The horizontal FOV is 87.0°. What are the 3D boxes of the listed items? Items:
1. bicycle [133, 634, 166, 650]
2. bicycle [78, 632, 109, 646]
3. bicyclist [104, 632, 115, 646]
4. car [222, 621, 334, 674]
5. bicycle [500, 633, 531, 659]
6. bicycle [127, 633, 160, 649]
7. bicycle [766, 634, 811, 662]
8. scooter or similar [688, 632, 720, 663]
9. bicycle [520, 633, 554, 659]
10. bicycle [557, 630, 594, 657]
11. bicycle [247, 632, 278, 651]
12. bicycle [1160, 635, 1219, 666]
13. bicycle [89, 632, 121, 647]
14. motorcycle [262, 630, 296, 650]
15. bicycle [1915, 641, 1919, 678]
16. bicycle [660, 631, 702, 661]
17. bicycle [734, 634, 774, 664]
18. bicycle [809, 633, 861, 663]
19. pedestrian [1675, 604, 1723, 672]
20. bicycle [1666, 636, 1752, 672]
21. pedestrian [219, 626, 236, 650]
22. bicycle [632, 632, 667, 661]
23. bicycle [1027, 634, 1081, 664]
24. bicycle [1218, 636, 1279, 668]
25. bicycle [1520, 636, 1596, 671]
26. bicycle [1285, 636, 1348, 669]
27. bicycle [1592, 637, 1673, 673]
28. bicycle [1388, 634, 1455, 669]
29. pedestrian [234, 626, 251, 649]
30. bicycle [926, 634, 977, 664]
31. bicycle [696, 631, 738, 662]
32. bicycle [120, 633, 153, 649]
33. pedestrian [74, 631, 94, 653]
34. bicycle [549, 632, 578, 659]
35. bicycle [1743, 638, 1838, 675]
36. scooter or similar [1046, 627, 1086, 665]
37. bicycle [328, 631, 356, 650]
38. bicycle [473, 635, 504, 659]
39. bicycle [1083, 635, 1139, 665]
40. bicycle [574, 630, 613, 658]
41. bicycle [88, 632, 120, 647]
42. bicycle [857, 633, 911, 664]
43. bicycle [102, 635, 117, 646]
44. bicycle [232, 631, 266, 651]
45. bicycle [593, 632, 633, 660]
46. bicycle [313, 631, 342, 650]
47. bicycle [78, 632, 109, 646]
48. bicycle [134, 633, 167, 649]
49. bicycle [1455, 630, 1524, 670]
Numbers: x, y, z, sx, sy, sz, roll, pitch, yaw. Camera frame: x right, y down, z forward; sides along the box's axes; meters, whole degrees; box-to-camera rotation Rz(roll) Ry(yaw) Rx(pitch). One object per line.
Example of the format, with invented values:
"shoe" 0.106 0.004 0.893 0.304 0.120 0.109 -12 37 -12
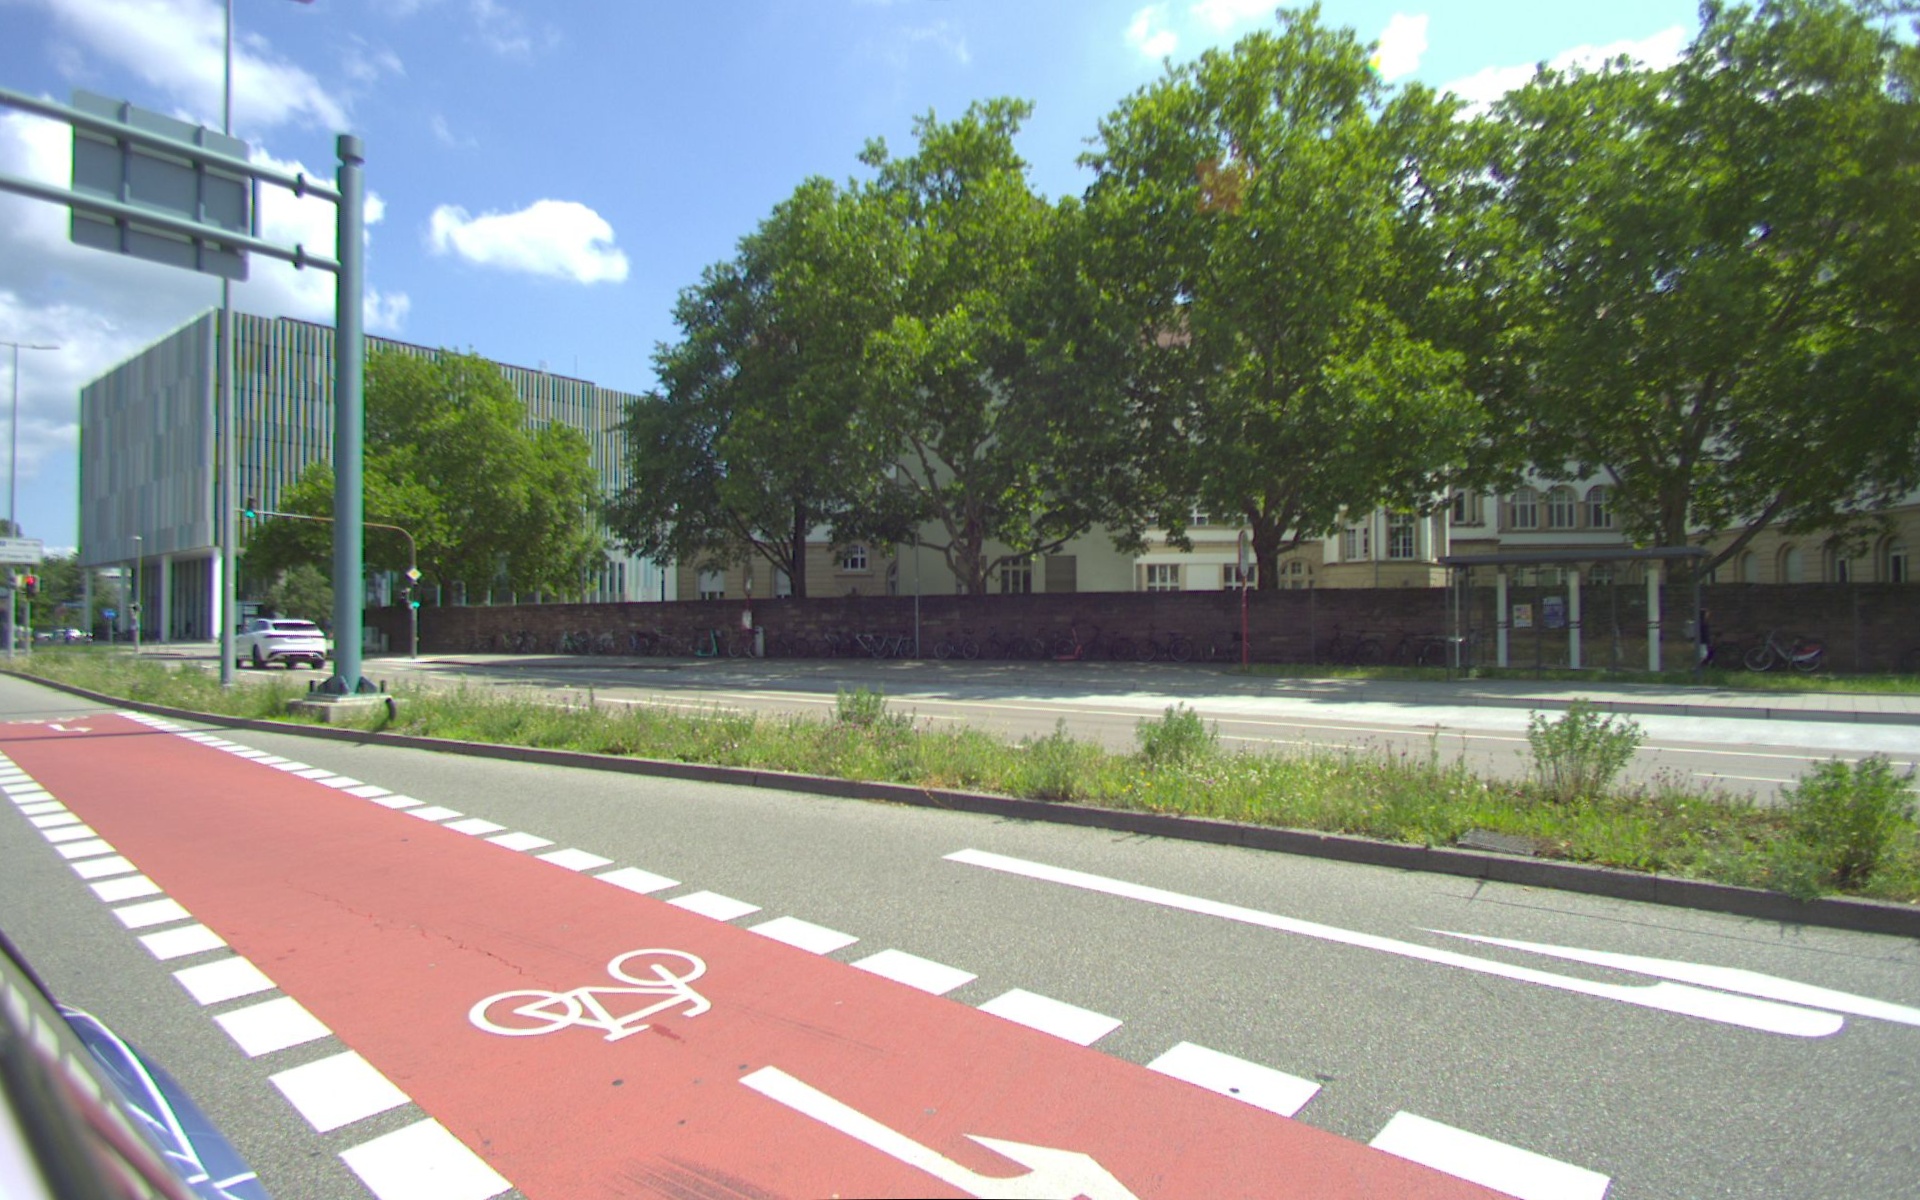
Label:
"bicycle" -77.790 3.985 97.123 0.621 1.506 2.420 -2 -2 41
"bicycle" -94.428 4.210 110.243 0.621 1.506 2.479 -2 -2 41
"bicyclist" -75.549 3.480 89.937 0.833 1.235 0.610 -2 -2 41
"car" -22.982 1.566 34.048 4.774 1.680 2.049 -2 -2 42
"bicycle" -20.406 2.102 46.454 1.589 1.161 0.495 -2 -2 33
"bicycle" -80.985 4.043 100.445 0.621 1.506 2.479 -2 -2 41
"bicycle" -6.357 1.764 37.559 1.795 1.016 0.476 -1 -2 32
"scooter or similar" -9.806 1.822 38.772 1.184 1.161 0.430 -1 -2 20
"bicycle" -19.011 2.051 45.479 1.589 1.161 0.616 -2 -2 33
"bicycle" -16.573 1.884 43.606 1.581 1.161 0.400 -1 -2 18
"bicycle" -58.691 3.492 85.160 0.919 1.505 2.690 0 -1 -5
"bicycle" 6.960 1.521 30.690 1.656 0.909 0.540 -1 -2 26
"bicycle" -90.183 4.150 106.739 0.621 1.506 2.479 -2 -2 41
"motorcycle" -57.357 3.388 85.274 0.957 1.652 3.301 0 -2 -5
"bicycle" 24.306 1.455 24.461 1.653 0.909 0.541 -1 -2 21
"bicycle" -11.087 1.817 40.181 1.582 1.161 0.530 -1 -2 19
"bicycle" -7.837 1.856 38.440 1.587 1.151 0.429 -1 -2 29
"bicycle" -4.516 1.718 36.458 1.941 1.055 0.540 -1 -2 29
"pedestrian" 17.912 0.916 24.549 0.752 1.629 0.612 -1 -1 20
"bicycle" 19.232 1.383 26.024 1.653 0.909 0.541 -1 -2 21
"pedestrian" -60.636 3.158 83.783 0.955 1.940 0.882 0 -1 -20
"bicycle" -12.613 1.889 41.065 1.587 1.161 0.398 -2 -2 30
"bicycle" 3.024 1.566 32.513 1.658 0.909 0.540 -1 -2 29
"bicycle" 8.473 1.518 29.773 1.663 0.909 0.497 -2 -2 38
"bicycle" 16.024 1.437 27.146 1.653 0.909 0.541 -1 -2 21
"bicycle" 10.291 1.514 29.216 1.656 0.909 0.540 -1 -2 26
"bicycle" 17.638 1.438 26.568 1.653 0.909 0.541 -1 -2 21
"bicycle" 12.833 1.422 28.191 1.655 0.959 0.541 -1 -2 24
"pedestrian" -61.858 3.201 87.249 0.955 1.940 0.882 0 -1 -23
"bicycle" -0.284 1.636 33.907 1.658 0.956 0.540 -1 -2 29
"bicycle" -9.463 1.804 39.410 1.582 1.161 0.530 -1 -2 19
"bicycle" -80.776 4.021 99.298 0.621 1.506 2.479 -2 -2 41
"pedestrian" -67.363 3.225 77.828 0.876 1.641 0.961 -1 -2 33
"bicycle" -17.503 1.990 44.660 1.591 1.161 0.409 -2 -2 36
"bicycle" 20.943 1.433 25.558 1.781 0.909 0.450 -1 -2 21
"scooter or similar" 3.306 1.432 31.616 1.184 1.192 0.430 -1 -2 20
"bicycle" -52.174 3.377 85.529 0.983 1.564 3.423 0 -2 -13
"bicycle" -22.175 2.196 47.610 1.589 1.107 0.567 -2 -2 33
"bicycle" 4.719 1.549 31.643 1.658 0.909 0.540 -1 -2 29
"bicycle" -15.499 1.861 42.824 1.576 1.161 0.401 -1 -2 8
"bicycle" -90.968 4.164 107.533 0.621 1.506 2.479 -2 -2 41
"bicycle" -2.668 1.674 35.309 1.887 1.055 0.540 -1 -2 29
"bicycle" -75.547 3.581 89.900 2.161 1.006 0.639 -2 -2 40
"bicycle" -59.735 3.405 85.062 0.797 1.656 3.421 0 -2 -8
"bicycle" -14.474 1.908 42.189 1.576 1.161 0.401 -1 -2 8
"bicycle" -53.398 3.371 85.508 0.983 1.564 3.423 0 -2 -13
"bicycle" -93.967 4.201 109.704 0.621 1.506 2.479 -2 -2 41
"bicycle" -78.371 3.999 97.995 2.473 1.506 0.731 1 -2 -39
"bicycle" 14.361 1.360 27.482 1.614 1.059 0.541 -1 -2 24
